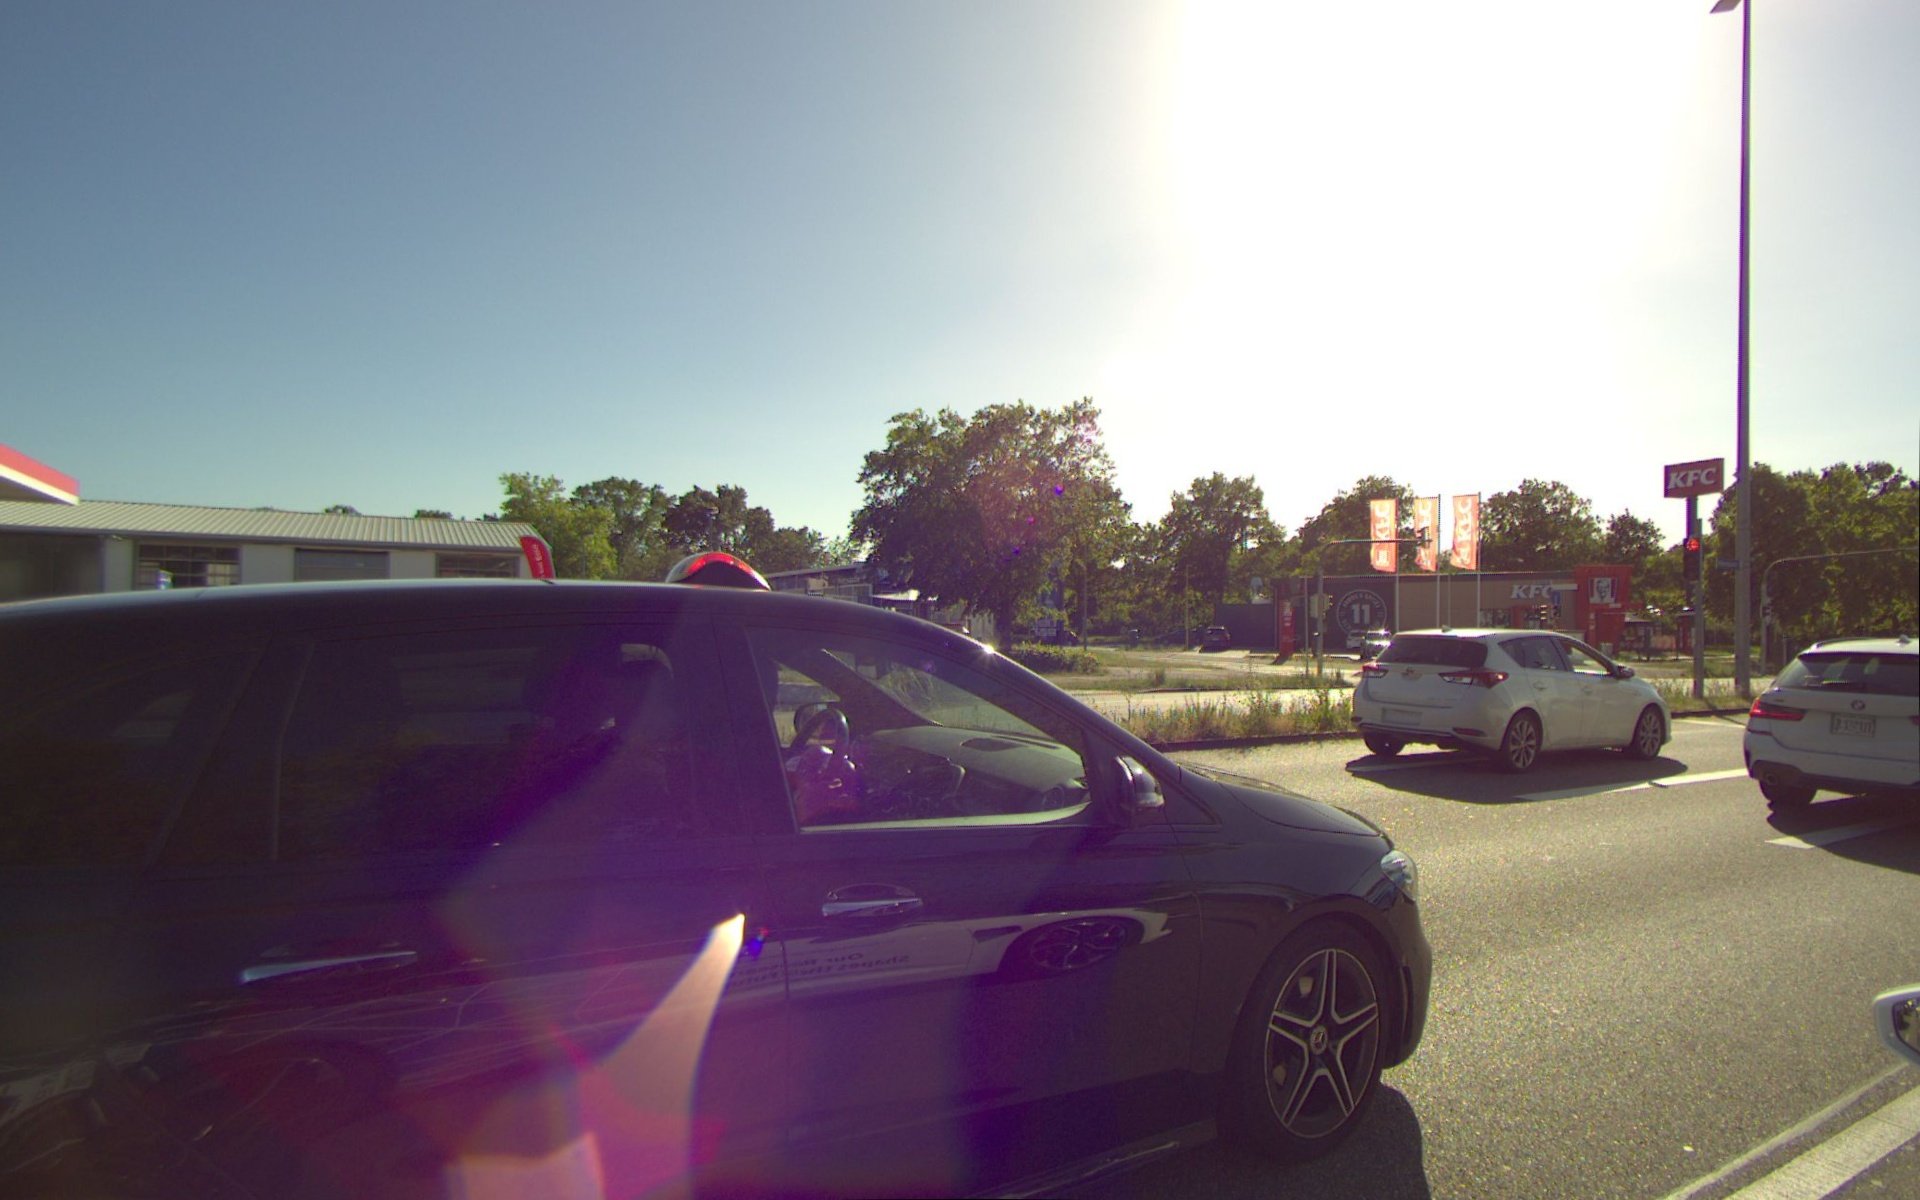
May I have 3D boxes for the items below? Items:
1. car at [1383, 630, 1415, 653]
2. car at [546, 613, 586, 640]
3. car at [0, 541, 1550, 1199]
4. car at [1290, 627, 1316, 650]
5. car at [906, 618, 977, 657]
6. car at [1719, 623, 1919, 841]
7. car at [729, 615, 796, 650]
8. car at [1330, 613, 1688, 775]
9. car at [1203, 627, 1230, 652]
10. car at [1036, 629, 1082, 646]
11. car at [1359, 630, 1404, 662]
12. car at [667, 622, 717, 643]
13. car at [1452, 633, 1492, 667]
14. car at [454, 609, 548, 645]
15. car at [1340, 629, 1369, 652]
[{"bbox_3d":[30.599,2.884,70.051,1.629,1.491,3.919,2,0,18],"label":"car"},{"bbox_3d":[-22.696,1.491,57.841,1.635,1.383,3.744,2,0,-29],"label":"car"},{"bbox_3d":[-0.515,0.721,2.685,4.354,1.510,1.750,2,0,-31],"label":"car"},{"bbox_3d":[24.539,2.734,71.966,1.629,1.491,3.919,2,0,18],"label":"car"},{"bbox_3d":[-0.904,1.757,47.621,1.839,1.613,3.974,2,0,-26],"label":"car"},{"bbox_3d":[8.522,1.036,8.574,4.354,1.510,1.775,2,0,-31],"label":"car"},{"bbox_3d":[-10.101,1.628,51.217,1.979,1.584,3.964,2,0,-33],"label":"car"},{"bbox_3d":[6.343,0.992,11.501,4.150,1.510,1.750,2,0,-31],"label":"car"},{"bbox_3d":[18.710,2.834,73.242,1.629,1.695,3.945,2,0,18],"label":"car"},{"bbox_3d":[8.918,3.375,90.461,3.864,1.481,1.663,0,-1,14],"label":"car"},{"bbox_3d":[25.023,2.689,59.616,1.964,1.788,4.349,2,0,29],"label":"car"},{"bbox_3d":[-22.831,2.764,85.785,3.930,1.634,1.996,2,0,-11],"label":"car"},{"bbox_3d":[29.769,2.855,58.304,1.880,1.776,4.349,2,0,29],"label":"car"},{"bbox_3d":[-21.644,1.254,47.442,3.946,1.536,1.772,2,0,-25],"label":"car"},{"bbox_3d":[27.965,2.858,71.320,1.629,1.491,3.919,2,0,18],"label":"car"}]
